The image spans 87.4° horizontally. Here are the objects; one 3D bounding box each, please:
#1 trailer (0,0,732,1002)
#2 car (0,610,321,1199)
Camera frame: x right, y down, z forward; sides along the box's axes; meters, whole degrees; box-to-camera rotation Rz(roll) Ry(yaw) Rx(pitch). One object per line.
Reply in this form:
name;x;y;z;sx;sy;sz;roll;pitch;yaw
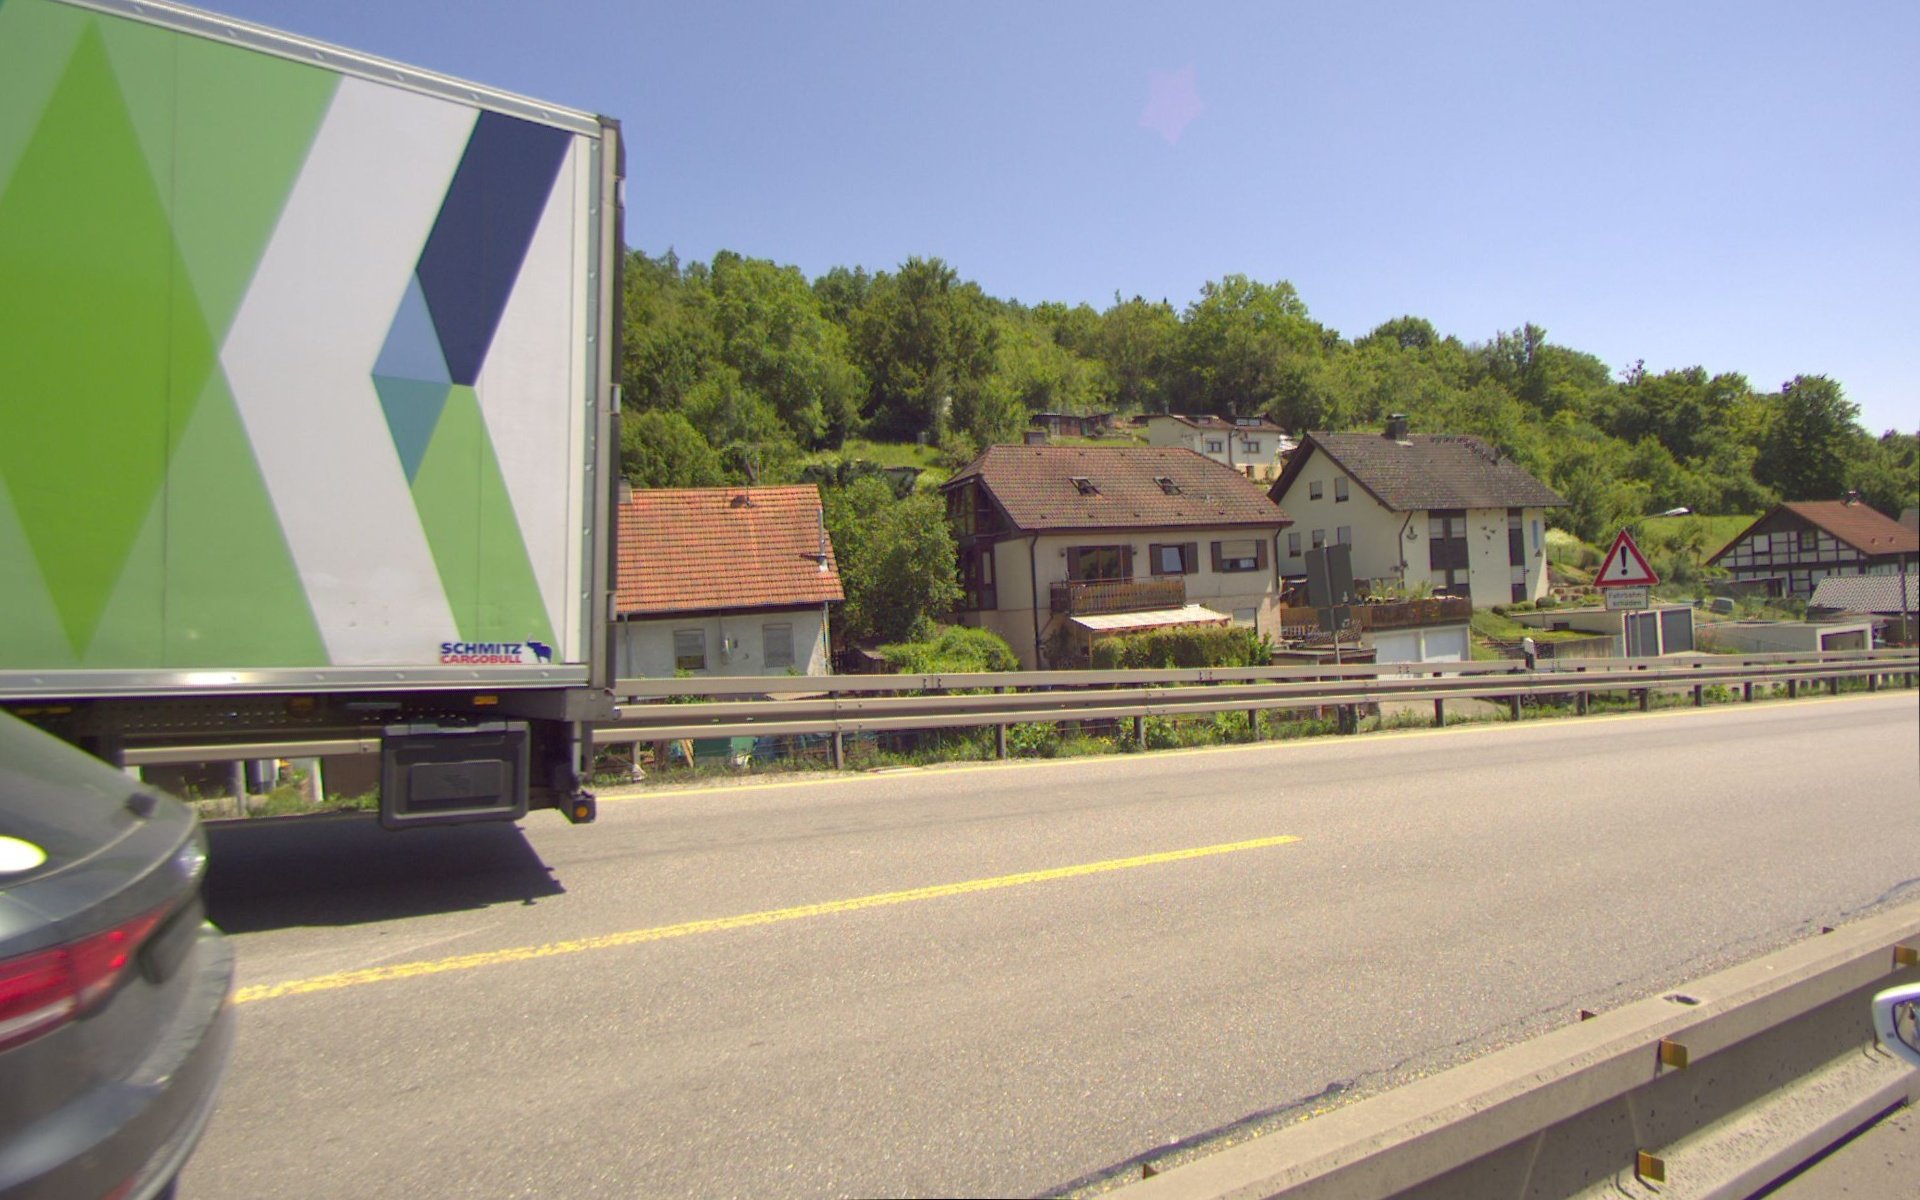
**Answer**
trailer;-8.013;-0.804;3.108;13.892;4.437;3.236;2;0;-30
car;-3.549;0.723;1.204;4.581;1.472;1.782;2;-2;-31
